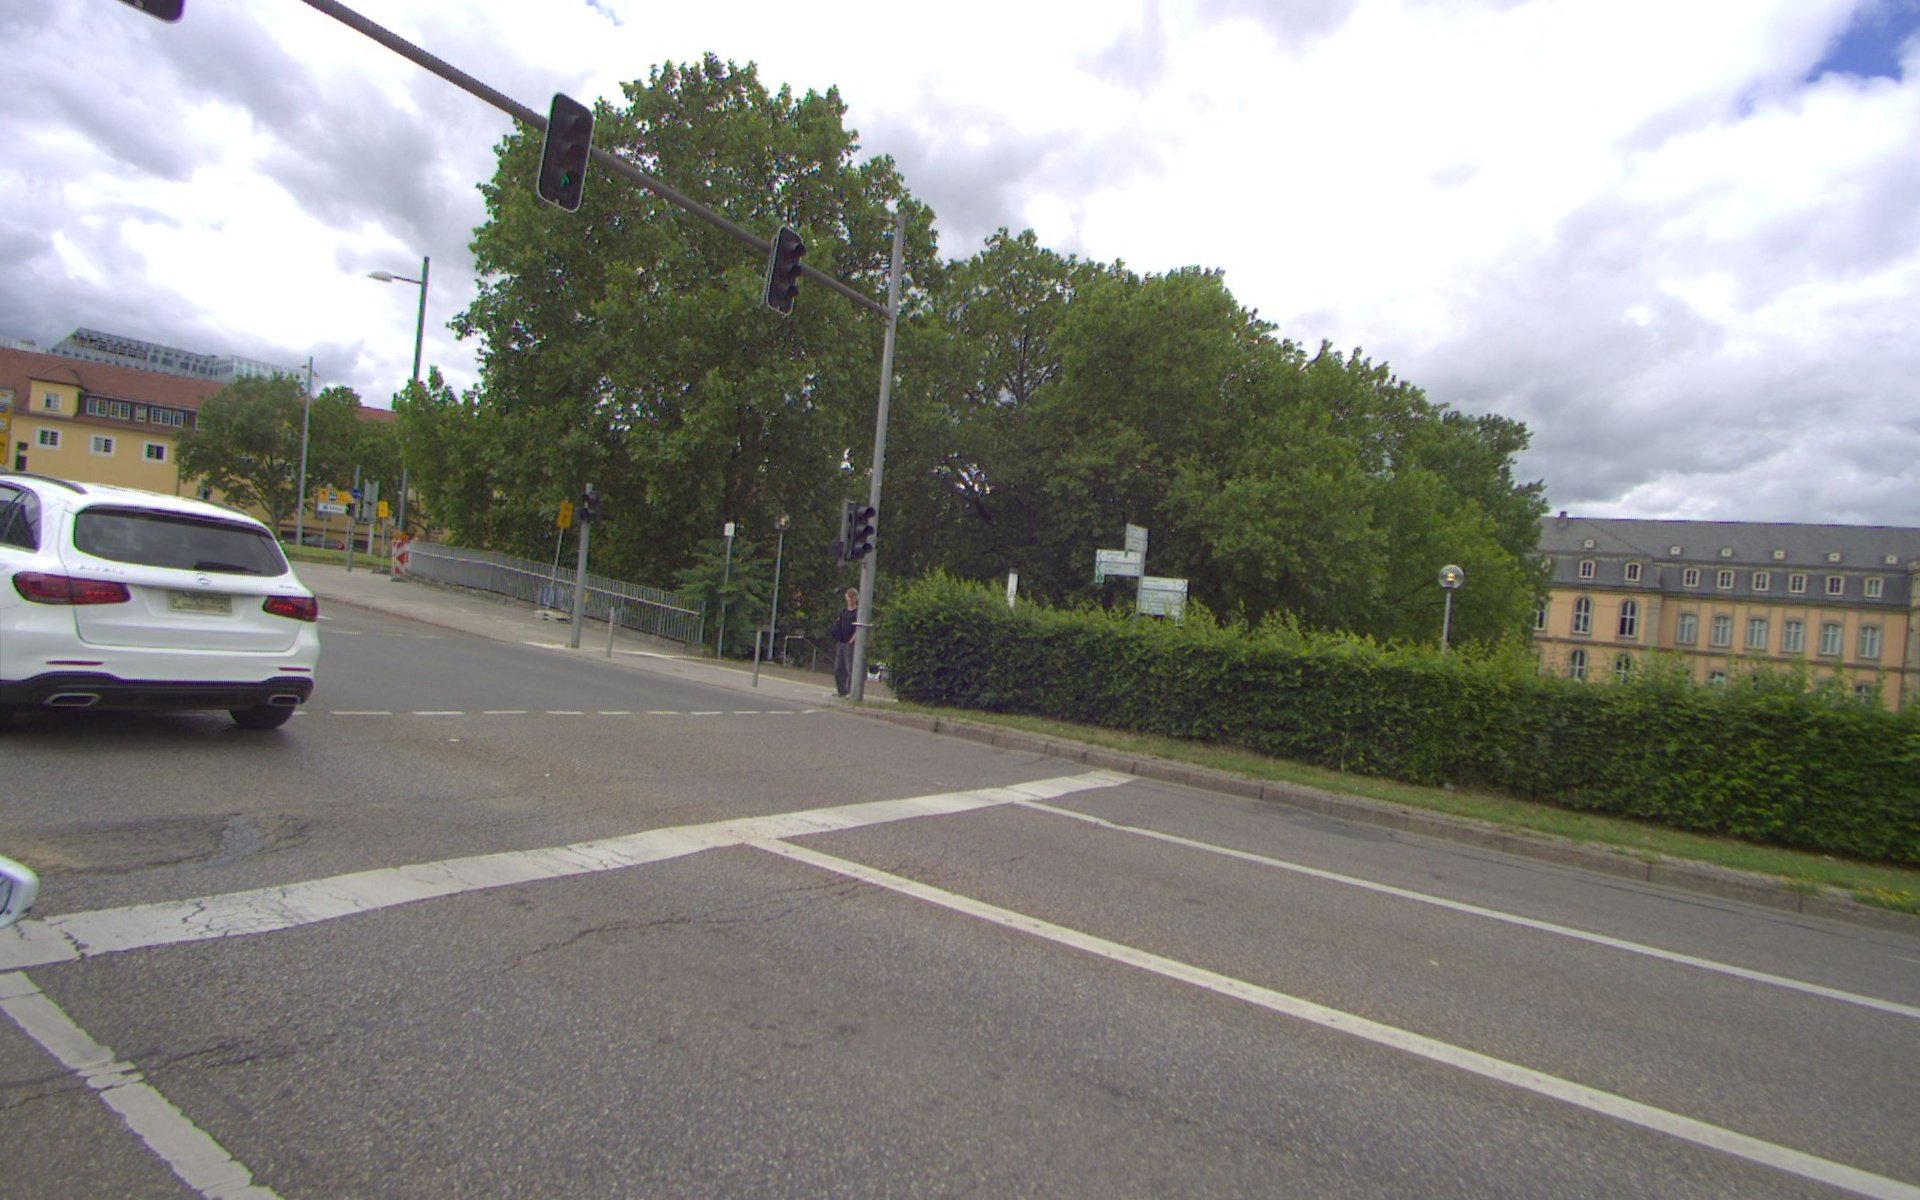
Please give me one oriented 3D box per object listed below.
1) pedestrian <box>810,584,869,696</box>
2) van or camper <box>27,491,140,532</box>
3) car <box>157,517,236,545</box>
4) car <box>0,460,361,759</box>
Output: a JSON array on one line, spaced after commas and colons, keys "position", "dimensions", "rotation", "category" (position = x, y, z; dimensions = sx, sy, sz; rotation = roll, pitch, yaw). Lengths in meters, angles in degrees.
[{"position": [-1.996, 0.667, 16.721], "dimensions": [0.610, 1.785, 0.479], "rotation": [7, 0, 29], "category": "pedestrian"}, {"position": [-66.214, -6.654, 76.156], "dimensions": [5.945, 2.038, 2.009], "rotation": [7, -1, -23], "category": "van or camper"}, {"position": [-59.951, -5.390, 79.078], "dimensions": [4.637, 1.437, 1.586], "rotation": [8, -1, -27], "category": "car"}, {"position": [-6.663, -0.089, 7.519], "dimensions": [4.305, 1.667, 1.822], "rotation": [7, 0, 31], "category": "car"}]
